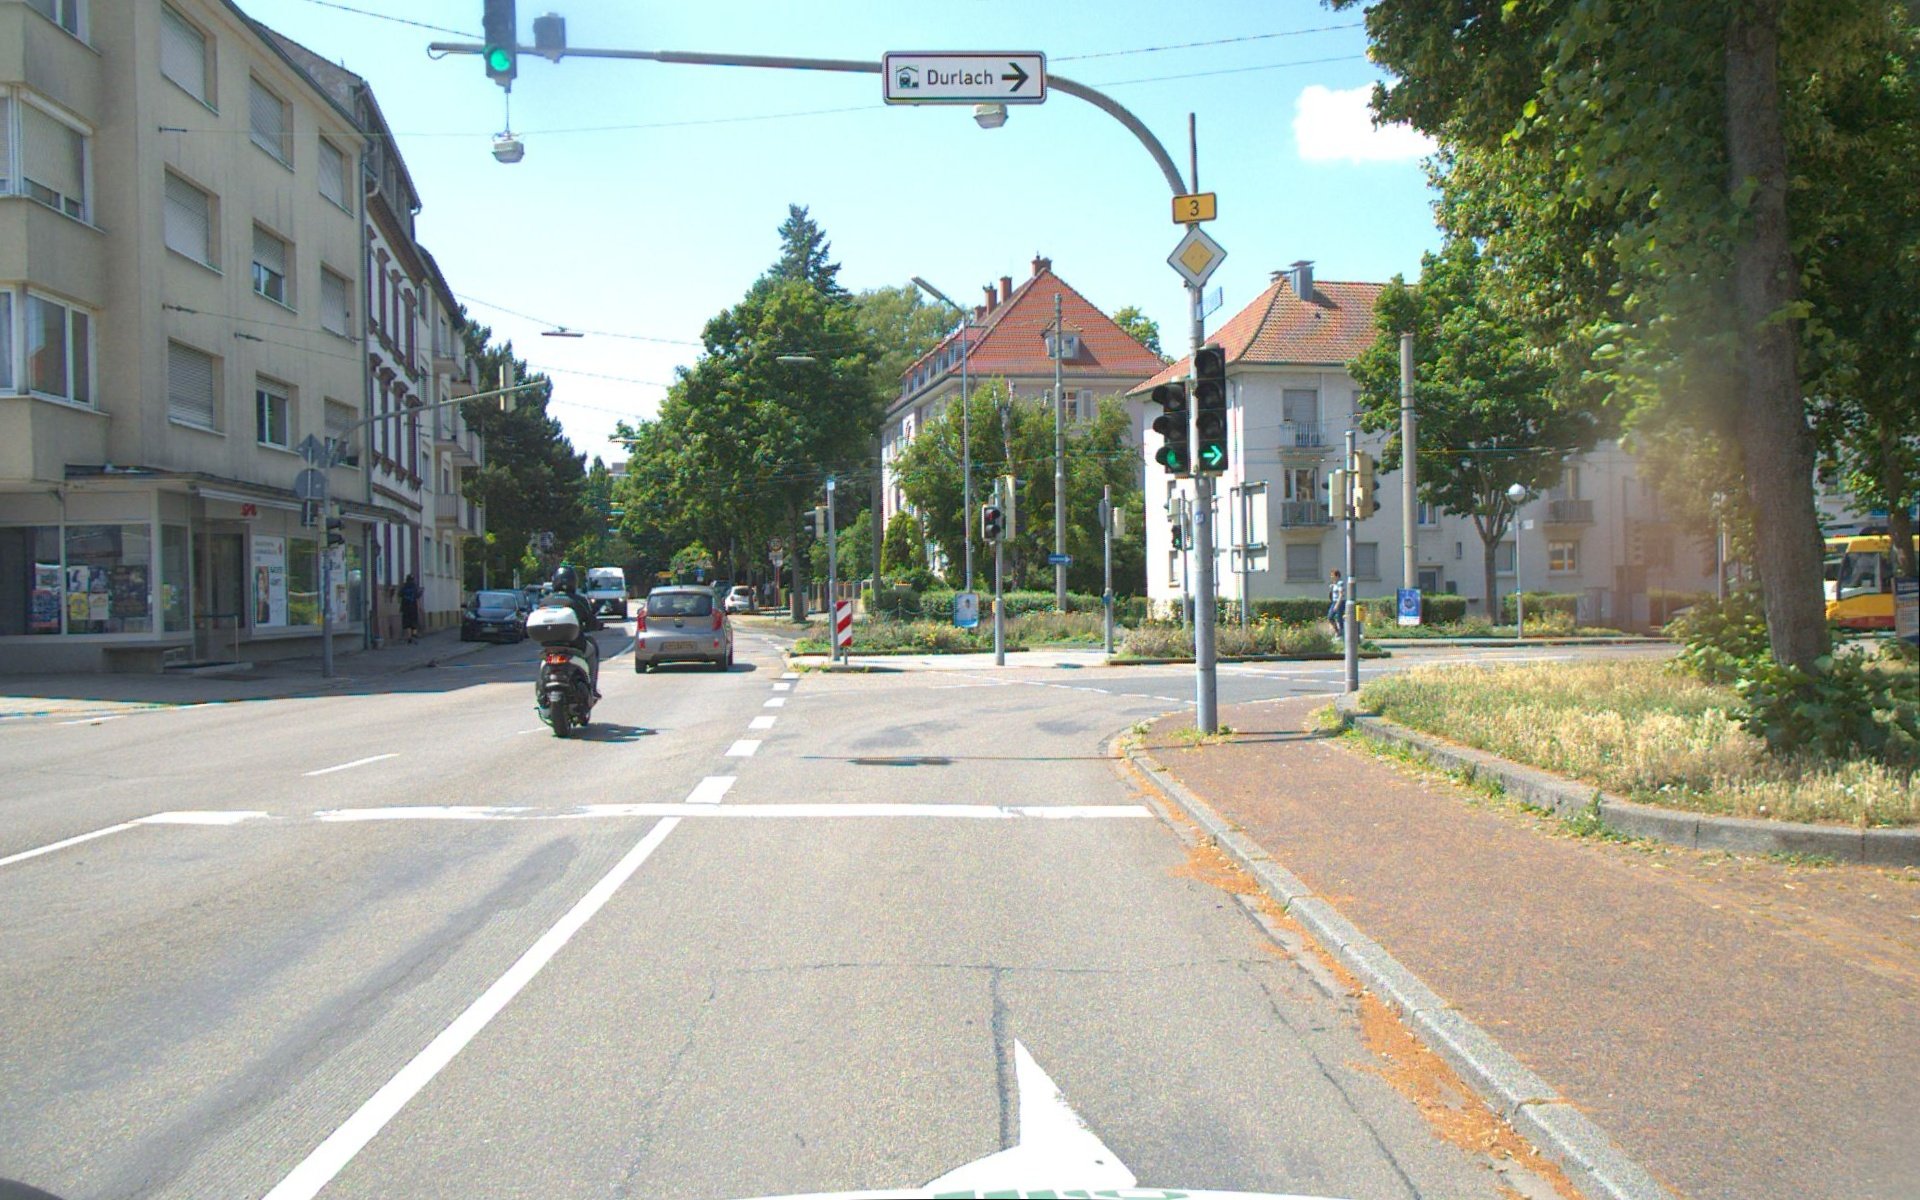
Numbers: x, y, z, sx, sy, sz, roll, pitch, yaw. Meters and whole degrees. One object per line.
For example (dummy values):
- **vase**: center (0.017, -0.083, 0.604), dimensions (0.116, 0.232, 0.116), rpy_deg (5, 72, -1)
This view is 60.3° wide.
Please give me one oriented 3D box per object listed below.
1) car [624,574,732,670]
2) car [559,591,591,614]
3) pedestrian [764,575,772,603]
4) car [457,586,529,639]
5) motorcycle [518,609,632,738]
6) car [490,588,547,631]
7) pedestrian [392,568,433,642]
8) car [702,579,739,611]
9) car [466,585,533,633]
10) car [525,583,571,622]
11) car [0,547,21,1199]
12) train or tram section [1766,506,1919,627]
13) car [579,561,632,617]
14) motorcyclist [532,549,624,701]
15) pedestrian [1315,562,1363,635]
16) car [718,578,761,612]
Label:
- **car**: center (-5.035, 0.357, 29.954), dimensions (1.765, 1.585, 4.030), rpy_deg (-1, 0, -8)
- **car**: center (-27.768, 0.182, 119.358), dimensions (1.765, 1.585, 4.031), rpy_deg (2, 0, -8)
- **pedestrian**: center (-11.637, -0.650, 100.355), dimensions (0.499, 1.685, 0.465), rpy_deg (0, 0, -8)
- **car**: center (-14.023, 0.381, 49.815), dimensions (1.960, 1.545, 3.985), rpy_deg (0, -1, -14)
- **motorcycle**: center (-3.808, 0.692, 16.510), dimensions (0.696, 1.154, 2.196), rpy_deg (-1, 1, -2)
- **car**: center (-16.811, 0.347, 63.120), dimensions (1.960, 1.536, 3.986), rpy_deg (-1, 0, -14)
- **pedestrian**: center (-14.792, 0.143, 44.698), dimensions (0.919, 1.965, 0.974), rpy_deg (-1, 0, -13)
- **car**: center (-14.978, -0.323, 103.460), dimensions (1.959, 1.940, 3.986), rpy_deg (0, 1, -13)
- **car**: center (-15.144, 0.305, 54.530), dimensions (1.960, 1.545, 3.986), rpy_deg (0, -1, -14)
- **car**: center (-19.700, 0.117, 79.267), dimensions (1.766, 1.747, 4.028), rpy_deg (2, 0, -10)
- **car**: center (-3.117, 0.680, 1.936), dimensions (1.762, 1.585, 4.037), rpy_deg (0, 0, -1)
- **train or tram section**: center (32.743, -1.122, 53.279), dimensions (13.905, 3.631, 2.806), rpy_deg (-1, 0, -16)
- **car**: center (-17.844, -0.530, 83.578), dimensions (2.176, 2.544, 7.535), rpy_deg (-4, 1, -10)
- **motorcyclist**: center (-3.812, 0.236, 16.569), dimensions (0.696, 1.471, 1.019), rpy_deg (-1, 0, -2)
- **pedestrian**: center (9.164, -0.040, 40.005), dimensions (0.826, 1.735, 0.755), rpy_deg (-1, 0, -28)
- **car**: center (-12.056, -0.287, 90.343), dimensions (1.959, 1.839, 3.986), rpy_deg (0, 1, -13)
